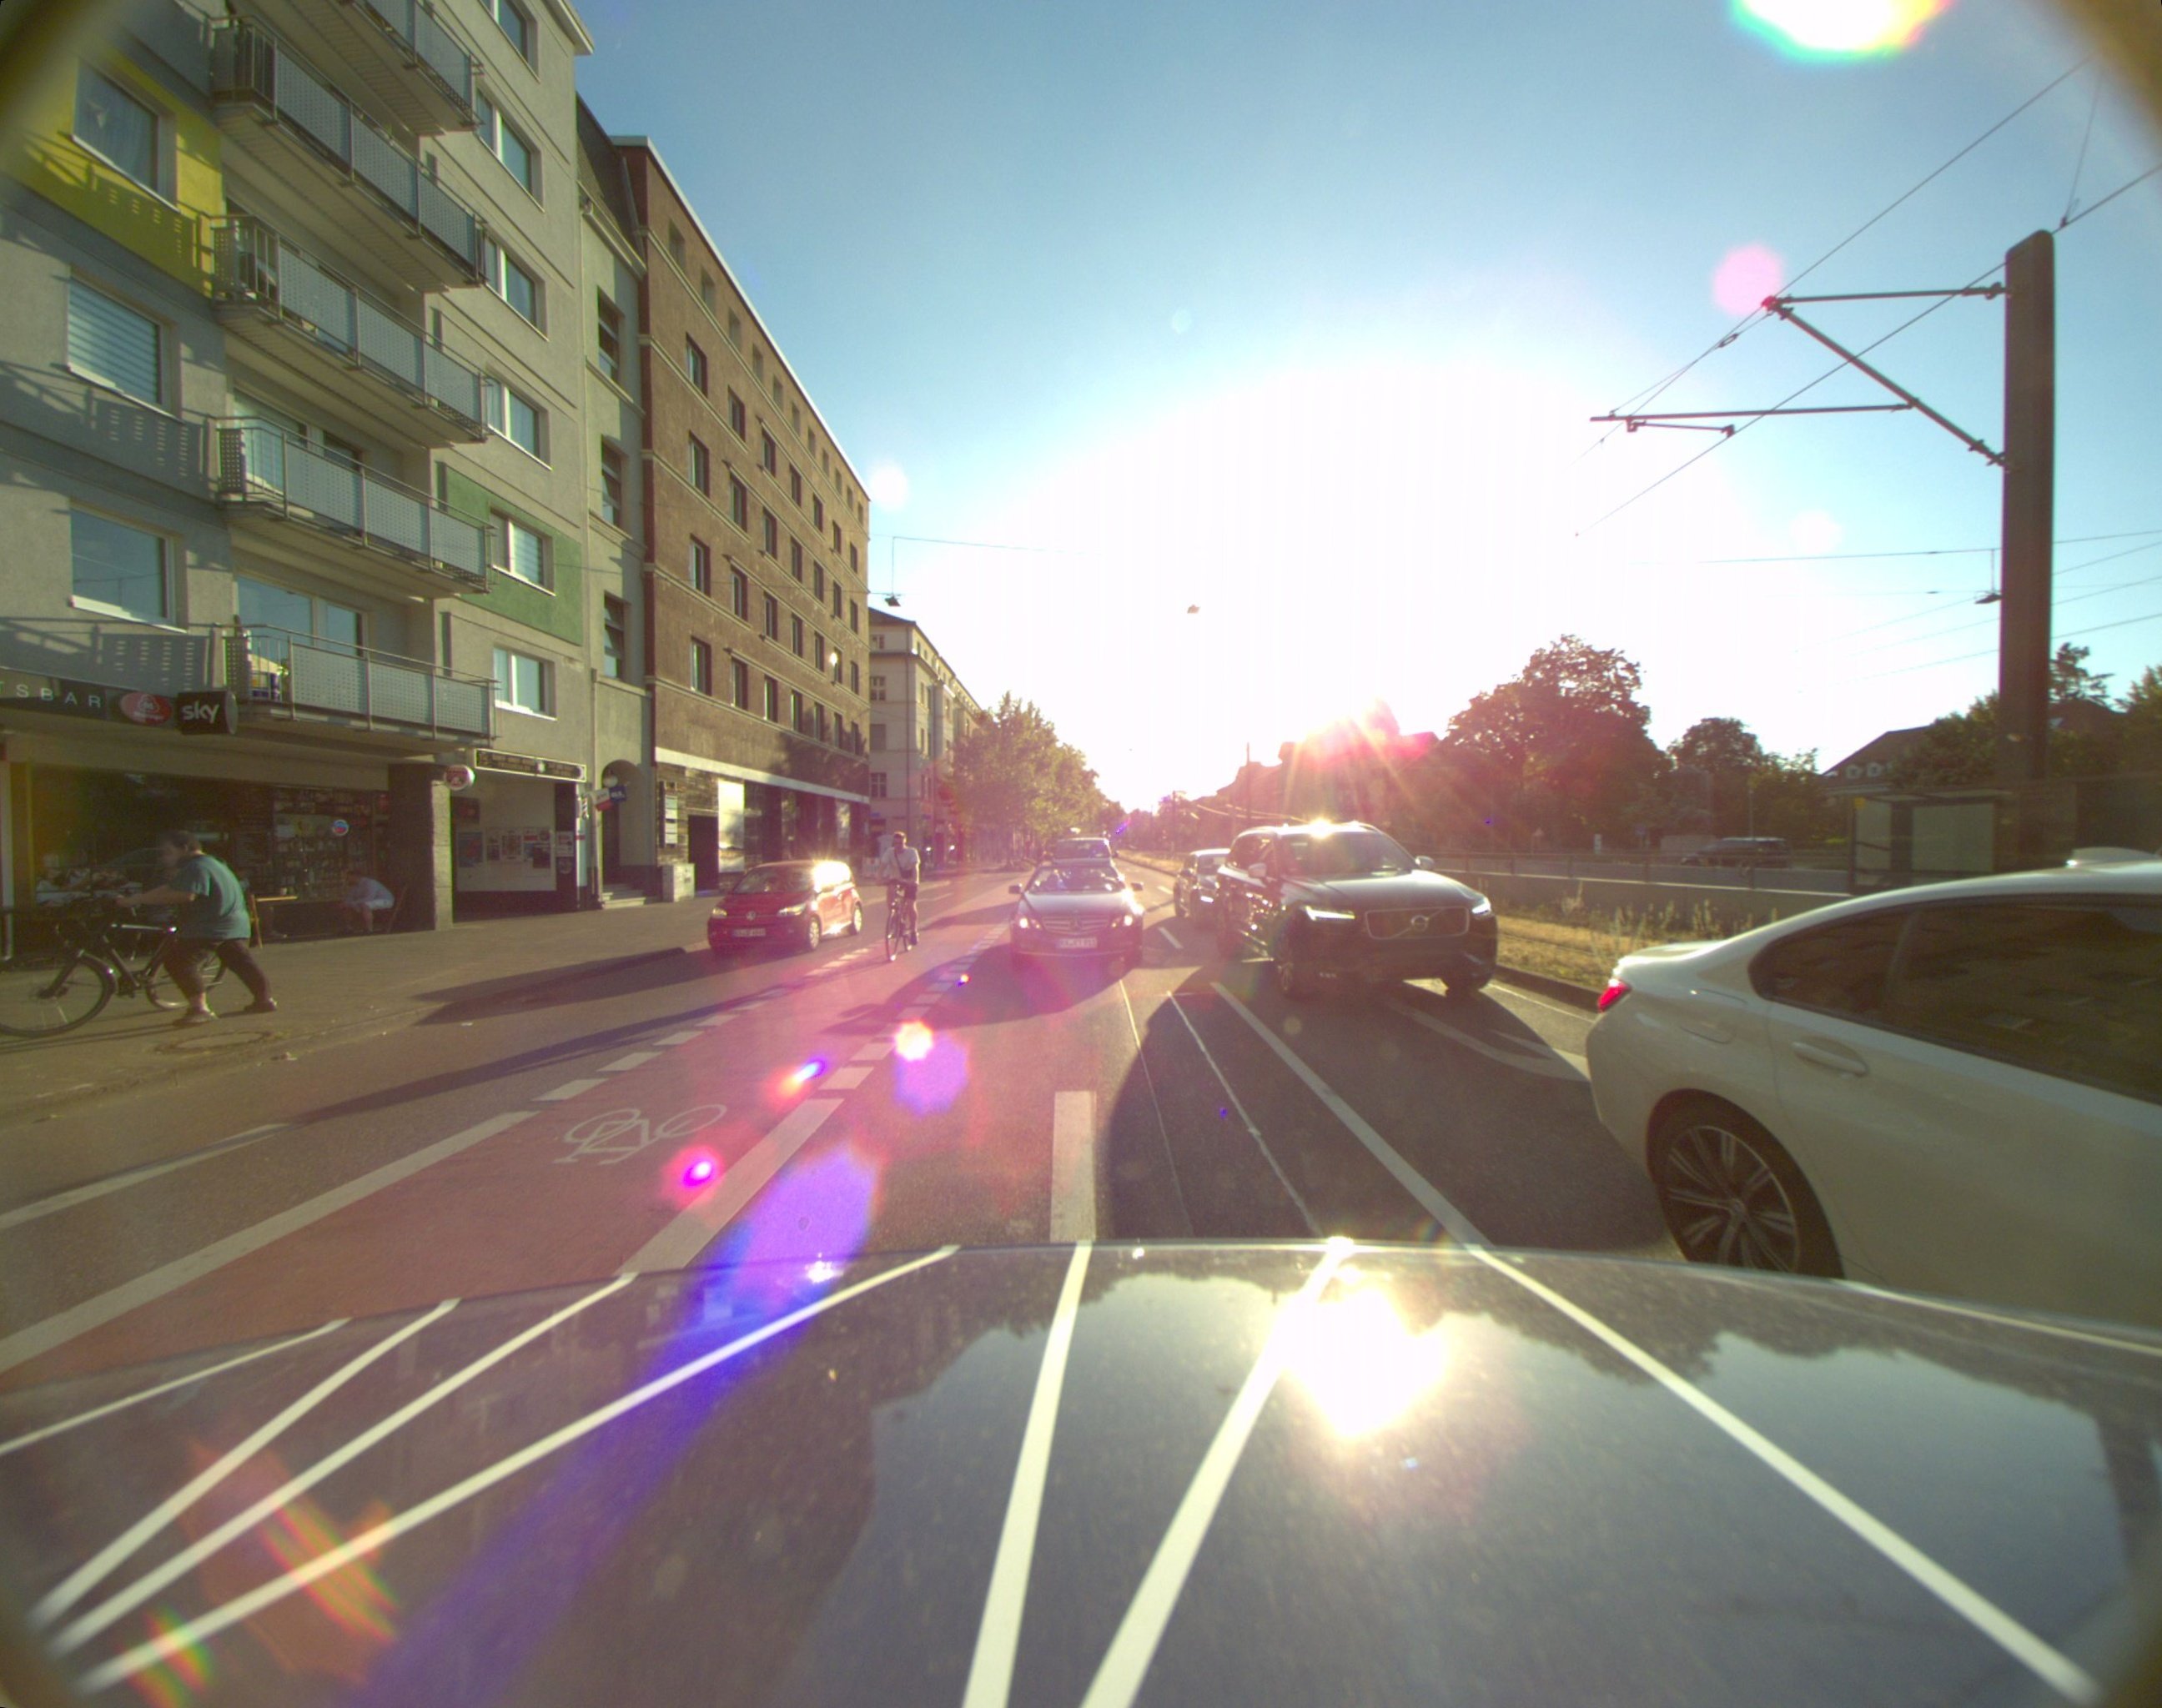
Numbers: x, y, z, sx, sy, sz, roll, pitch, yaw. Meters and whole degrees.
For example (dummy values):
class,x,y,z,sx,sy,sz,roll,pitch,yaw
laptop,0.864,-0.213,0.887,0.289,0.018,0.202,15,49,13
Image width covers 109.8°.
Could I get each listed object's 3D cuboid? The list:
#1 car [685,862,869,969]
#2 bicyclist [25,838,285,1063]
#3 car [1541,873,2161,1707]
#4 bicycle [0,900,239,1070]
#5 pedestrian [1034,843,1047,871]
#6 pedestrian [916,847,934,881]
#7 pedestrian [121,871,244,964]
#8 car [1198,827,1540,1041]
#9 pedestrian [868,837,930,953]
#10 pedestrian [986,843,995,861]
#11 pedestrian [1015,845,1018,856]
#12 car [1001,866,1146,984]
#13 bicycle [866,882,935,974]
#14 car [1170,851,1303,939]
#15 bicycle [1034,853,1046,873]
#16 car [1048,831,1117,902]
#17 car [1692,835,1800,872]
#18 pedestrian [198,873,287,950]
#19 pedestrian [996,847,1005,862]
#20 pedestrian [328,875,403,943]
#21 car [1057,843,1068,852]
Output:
class,x,y,z,sx,sy,sz,roll,pitch,yaw
car,-5.122,0.957,13.347,1.687,1.472,3.539,-2,1,1
bicyclist,-8.260,0.758,6.831,0.742,1.797,1.388,0,1,35
car,2.846,0.857,0.906,1.842,1.393,4.583,-3,1,1
bicycle,-8.681,1.072,6.774,0.568,1.170,1.871,2,1,-12
pedestrian,-2.425,0.164,45.401,0.679,1.639,0.901,-2,1,2
pedestrian,-7.376,0.447,35.927,0.603,1.587,0.884,-1,1,0
pedestrian,-13.442,0.925,11.399,0.646,1.287,0.954,-1,1,3
car,2.819,0.646,8.842,1.956,1.702,4.849,-3,1,-2
pedestrian,-2.685,0.581,11.282,0.640,1.639,0.843,-2,1,0
pedestrian,-8.854,-0.206,74.218,0.728,1.666,0.924,-1,1,0
pedestrian,-8.403,-0.425,98.485,0.310,1.431,0.357,-1,1,8
car,-0.089,0.912,11.496,1.776,1.300,4.239,-1,1,0
bicycle,-2.637,1.045,11.259,0.530,1.152,1.849,-2,1,0
car,2.922,0.711,15.128,1.815,1.393,3.918,-3,1,0
bicycle,-2.424,0.506,45.401,0.530,1.152,1.849,-2,1,2
car,0.054,0.322,23.945,1.920,1.978,4.946,-1,1,0
car,32.018,-0.035,36.755,1.715,1.685,4.089,-1,1,1
pedestrian,-13.936,0.939,12.643,0.727,1.224,0.647,-1,1,2
pedestrian,-7.829,0.027,73.943,0.728,1.431,0.924,-1,1,0
pedestrian,-12.646,0.957,13.451,0.606,1.145,0.727,-1,1,0
car,-3.190,-1.162,134.358,1.774,1.474,4.309,-1,1,1
